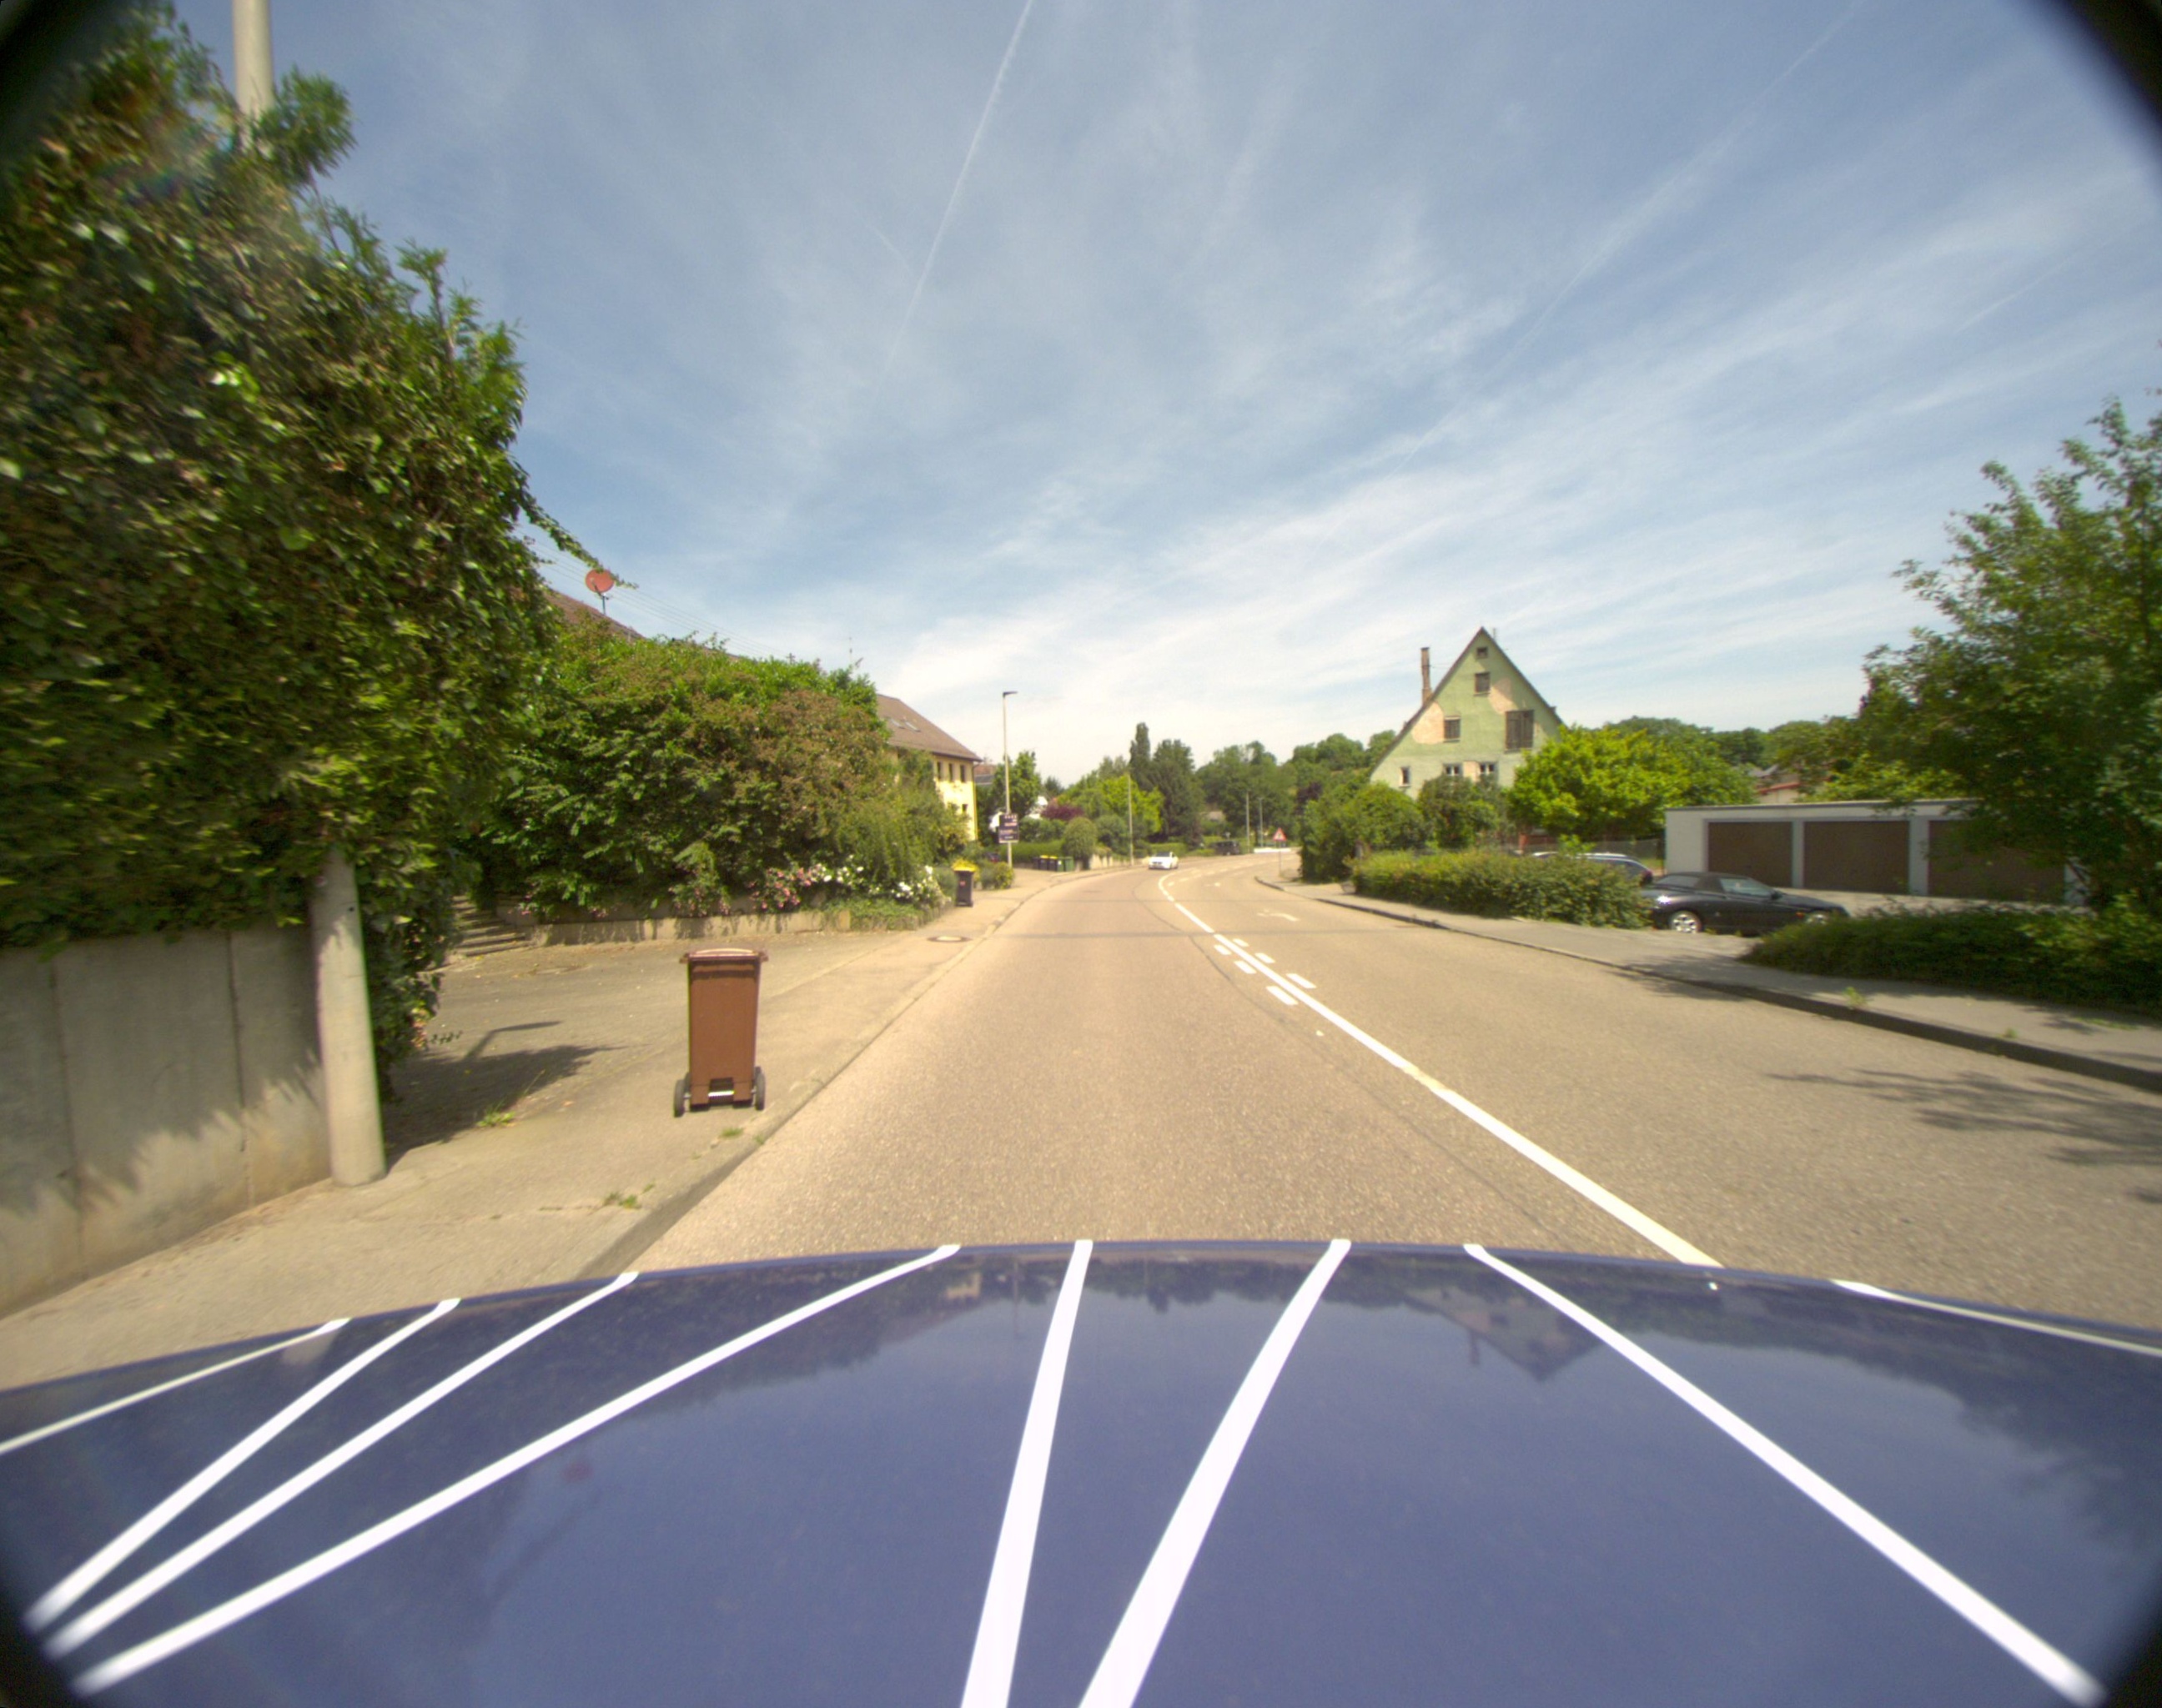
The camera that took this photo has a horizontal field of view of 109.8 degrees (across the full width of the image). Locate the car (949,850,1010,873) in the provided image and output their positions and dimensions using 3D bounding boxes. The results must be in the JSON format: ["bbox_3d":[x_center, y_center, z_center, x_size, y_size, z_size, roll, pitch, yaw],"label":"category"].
[{"bbox_3d":[-6.834,0.504,51.180,3.685,1.410,1.646,-1,2,18],"label":"car"}]

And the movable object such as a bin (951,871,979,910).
[{"bbox_3d":[-3.217,1.008,21.191,0.589,1.053,0.919,-1,1,3],"label":"movable object such as a bin"}]

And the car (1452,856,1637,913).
[{"bbox_3d":[12.862,0.813,21.268,3.998,1.379,1.999,-1,1,-2],"label":"car"}]

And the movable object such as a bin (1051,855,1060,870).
[{"bbox_3d":[-1.825,0.594,54.156,0.484,1.016,0.565,2,2,21],"label":"movable object such as a bin"}]

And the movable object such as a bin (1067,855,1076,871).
[{"bbox_3d":[-0.648,0.607,53.742,0.485,1.101,0.565,-1,1,14],"label":"movable object such as a bin"}]

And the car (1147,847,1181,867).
[{"bbox_3d":[6.825,0.205,62.387,1.823,1.543,4.005,0,1,20],"label":"car"}]

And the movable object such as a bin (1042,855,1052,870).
[{"bbox_3d":[-2.434,0.585,54.365,0.484,1.016,0.565,2,2,21],"label":"movable object such as a bin"}]

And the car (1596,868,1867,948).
[{"bbox_3d":[12.924,1.043,15.271,3.967,1.240,1.646,4,1,0],"label":"car"}]

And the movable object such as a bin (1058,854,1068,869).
[{"bbox_3d":[-1.285,0.544,53.921,0.485,1.064,0.565,-1,1,21],"label":"movable object such as a bin"}]

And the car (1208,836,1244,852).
[{"bbox_3d":[18.484,-1.279,96.882,3.900,1.938,1.959,-1,1,33],"label":"car"}]

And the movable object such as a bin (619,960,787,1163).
[{"bbox_3d":[-2.175,1.164,4.457,0.590,0.972,0.786,1,1,0],"label":"movable object such as a bin"}]

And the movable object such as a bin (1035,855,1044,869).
[{"bbox_3d":[-2.981,0.556,54.502,0.449,0.950,0.516,3,3,18],"label":"movable object such as a bin"}]
